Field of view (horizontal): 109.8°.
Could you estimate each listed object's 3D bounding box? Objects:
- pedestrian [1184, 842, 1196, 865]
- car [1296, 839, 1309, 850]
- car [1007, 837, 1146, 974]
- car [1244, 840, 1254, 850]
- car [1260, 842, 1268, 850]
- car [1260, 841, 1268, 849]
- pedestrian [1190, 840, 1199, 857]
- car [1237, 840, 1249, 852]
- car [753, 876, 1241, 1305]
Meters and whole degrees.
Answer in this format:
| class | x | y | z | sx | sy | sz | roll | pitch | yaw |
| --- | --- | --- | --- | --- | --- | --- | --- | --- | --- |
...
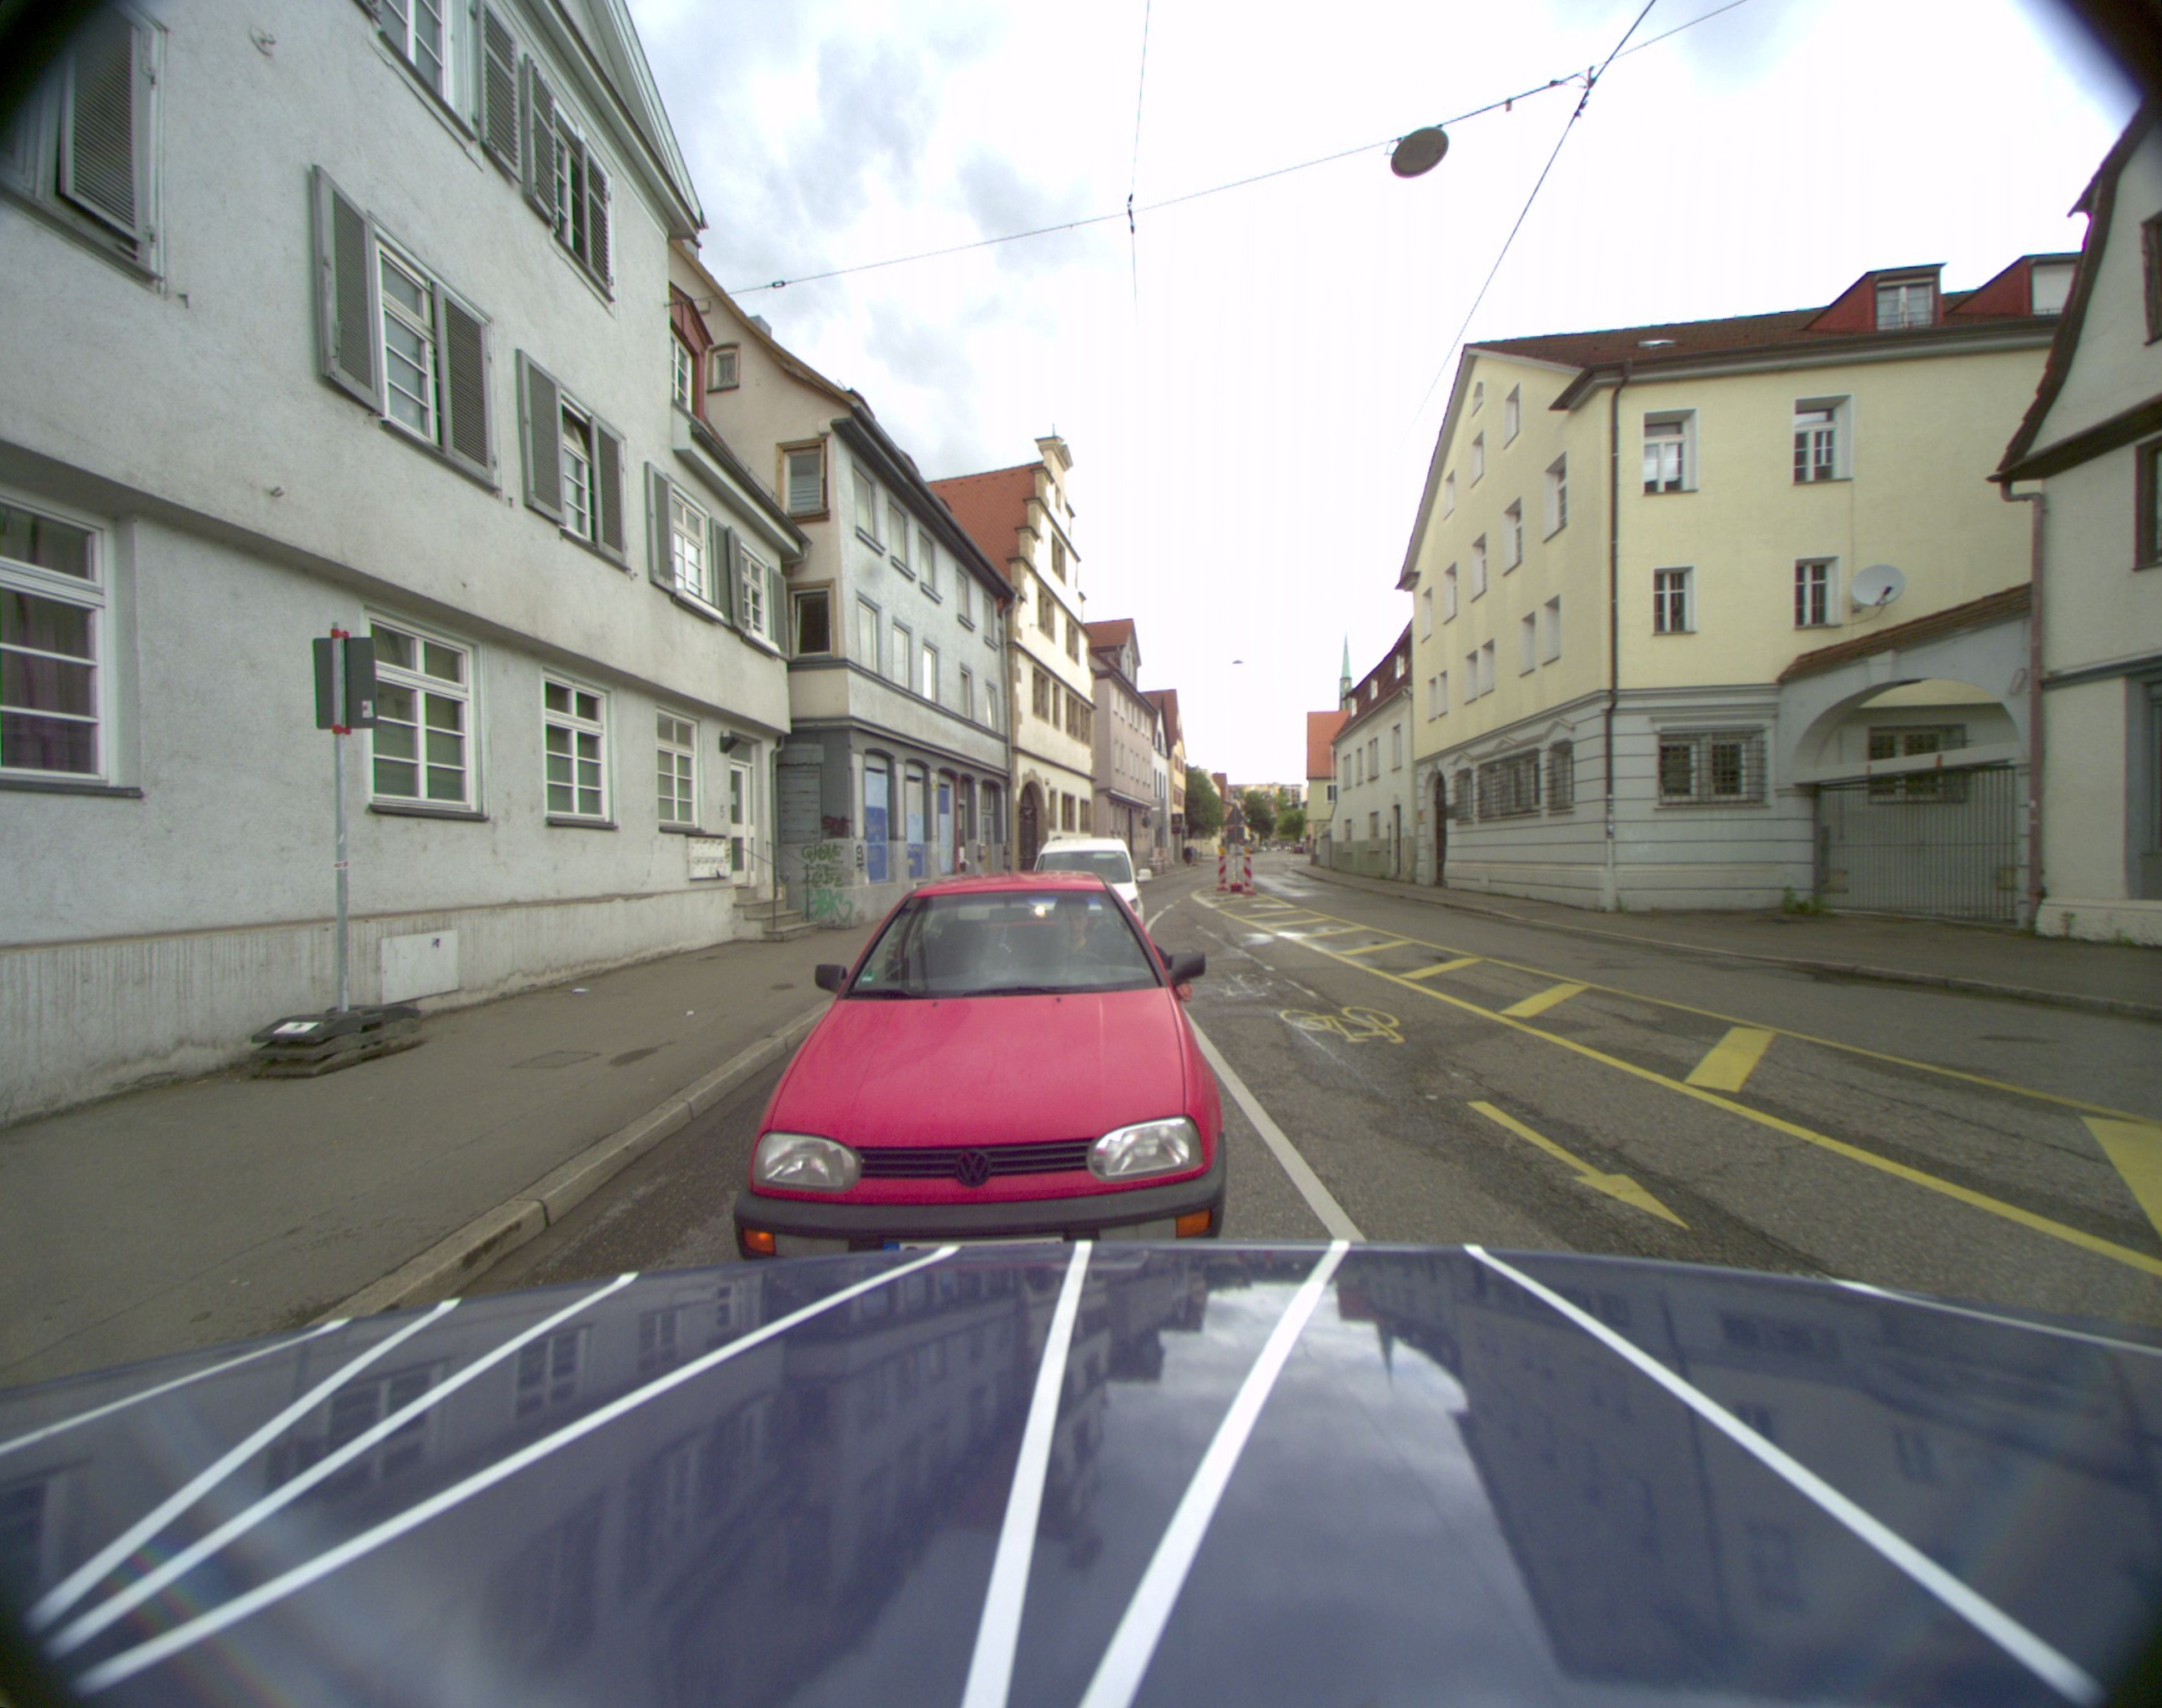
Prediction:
| class | x | y | z | sx | sy | sz | roll | pitch | yaw |
| --- | --- | --- | --- | --- | --- | --- | --- | --- | --- |
| pedestrian | 8.858 | -0.037 | 61.652 | 0.877 | 1.888 | 0.898 | -1 | 0 | 14 |
| car | 42.721 | -1.788 | 146.579 | 2.057 | 2.002 | 4.004 | -1 | 0 | 13 |
| car | -0.028 | 0.687 | 12.213 | 1.804 | 1.781 | 4.349 | -1 | 0 | 1 |
| car | 34.099 | -1.770 | 154.248 | 1.996 | 2.002 | 4.004 | -1 | 0 | 13 |
| car | 48.469 | -2.122 | 201.284 | 1.996 | 2.002 | 4.004 | -1 | 0 | 13 |
| car | 44.948 | -2.171 | 186.810 | 1.996 | 2.002 | 4.004 | -1 | 0 | 13 |
| pedestrian | 11.966 | -0.617 | 80.120 | 0.562 | 1.784 | 0.658 | -1 | 0 | -28 |
| car | 28.449 | -1.355 | 133.498 | 1.996 | 2.002 | 4.004 | -1 | 0 | 13 |
| car | -0.300 | 0.981 | 4.948 | 1.804 | 1.458 | 4.000 | -4 | 0 | 1 |
